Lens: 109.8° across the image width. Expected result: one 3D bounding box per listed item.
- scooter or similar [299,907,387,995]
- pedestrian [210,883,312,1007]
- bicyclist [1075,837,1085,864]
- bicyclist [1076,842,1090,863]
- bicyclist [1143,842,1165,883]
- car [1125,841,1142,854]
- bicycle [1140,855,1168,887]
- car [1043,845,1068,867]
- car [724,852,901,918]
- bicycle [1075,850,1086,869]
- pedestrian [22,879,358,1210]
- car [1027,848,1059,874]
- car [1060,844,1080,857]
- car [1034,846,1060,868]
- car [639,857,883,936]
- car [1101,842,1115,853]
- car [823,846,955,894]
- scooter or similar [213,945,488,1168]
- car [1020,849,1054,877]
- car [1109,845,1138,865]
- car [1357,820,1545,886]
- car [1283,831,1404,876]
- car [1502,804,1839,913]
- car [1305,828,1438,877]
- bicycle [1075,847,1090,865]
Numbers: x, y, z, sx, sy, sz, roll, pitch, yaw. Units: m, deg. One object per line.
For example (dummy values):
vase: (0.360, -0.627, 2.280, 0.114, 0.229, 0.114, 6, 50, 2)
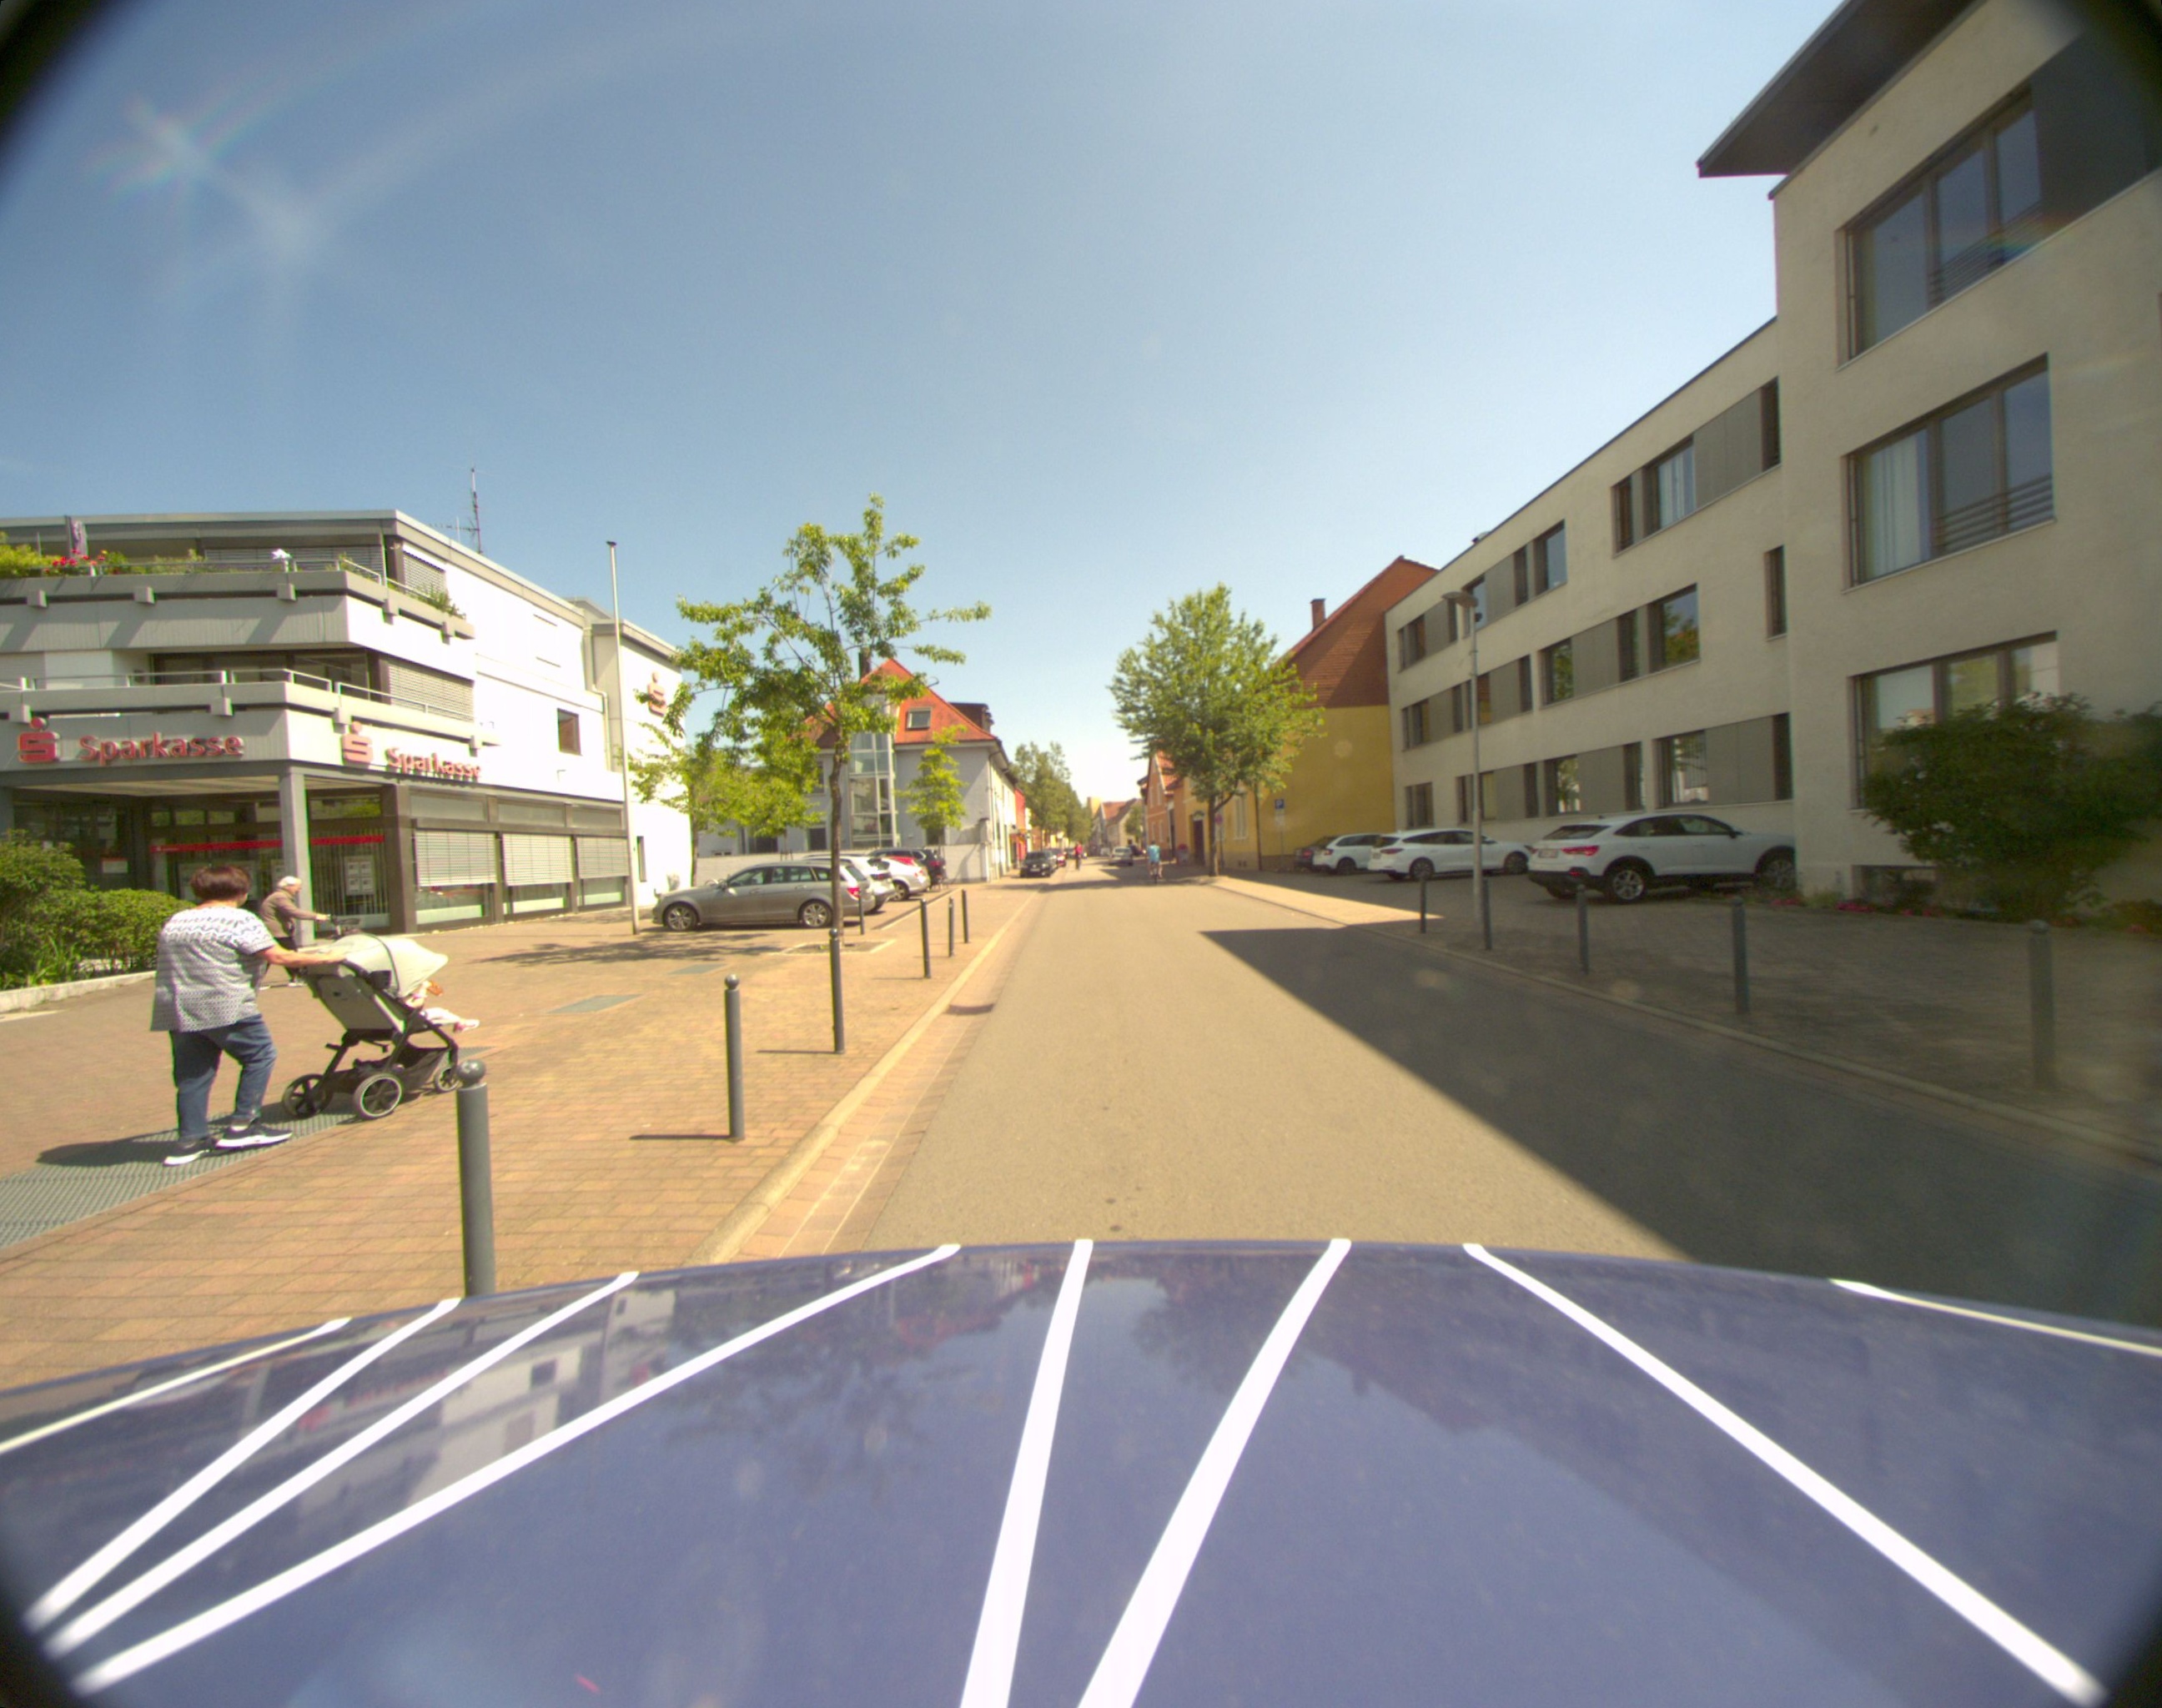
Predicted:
scooter or similar: (-10.199, 1.317, 10.509, 0.589, 1.069, 0.807, -2, 2, 45)
pedestrian: (-10.741, 1.158, 9.983, 0.667, 1.488, 0.812, -2, 1, 44)
bicyclist: (-0.060, -0.228, 51.205, 0.645, 1.766, 0.722, -1, 0, 2)
bicyclist: (0.148, -0.152, 60.751, 1.028, 1.635, 1.025, -2, 1, 3)
bicyclist: (2.741, 0.307, 28.383, 0.669, 1.518, 0.762, -1, 1, 16)
car: (6.903, -0.844, 99.889, 1.863, 1.620, 4.048, -3, 1, 7)
bicycle: (2.750, 0.611, 28.374, 0.674, 1.103, 1.898, -1, 1, 16)
car: (-2.141, 0.138, 62.171, 1.834, 1.579, 4.086, -4, 1, -3)
car: (-6.879, 0.771, 19.841, 3.998, 1.565, 1.856, 1, 2, -4)
bicycle: (-0.046, 0.360, 51.230, 0.635, 1.227, 1.894, -1, -1, 2)
pedestrian: (-4.593, 0.921, 3.990, 0.705, 1.512, 0.801, -3, 1, 4)
car: (-2.380, 0.412, 48.208, 1.721, 1.473, 4.095, -2, 1, 1)
car: (-1.412, -0.448, 100.328, 1.928, 1.594, 4.110, -3, 1, 7)
car: (-2.467, 0.205, 56.044, 1.741, 1.504, 3.735, -2, 0, -1)
car: (-6.925, 0.894, 16.890, 4.589, 1.504, 1.915, -1, 1, -6)
car: (5.795, -1.363, 162.889, 2.443, 2.224, 4.958, -3, 1, -3)
car: (-7.468, 0.608, 29.916, 4.643, 1.761, 2.147, -1, 0, -3)
scooter or similar: (-4.512, 1.208, 4.791, 0.627, 1.100, 1.044, -3, 1, 4)
car: (-2.427, 0.466, 42.646, 1.708, 1.473, 3.920, -1, 1, -1)
car: (3.174, 0.063, 57.815, 1.885, 1.455, 4.435, -1, 1, -1)
car: (10.755, -0.051, 22.294, 4.515, 1.545, 1.934, -4, 2, 0)
car: (10.256, -0.022, 29.869, 3.998, 1.423, 1.971, -4, 0, -4)
car: (10.641, 0.060, 13.996, 4.518, 1.545, 2.147, -4, 1, -2)
car: (10.372, -0.047, 27.343, 3.997, 1.443, 1.807, -4, 0, 0)
bicycle: (0.150, 0.132, 60.646, 0.959, 1.363, 2.406, -2, 1, 4)
